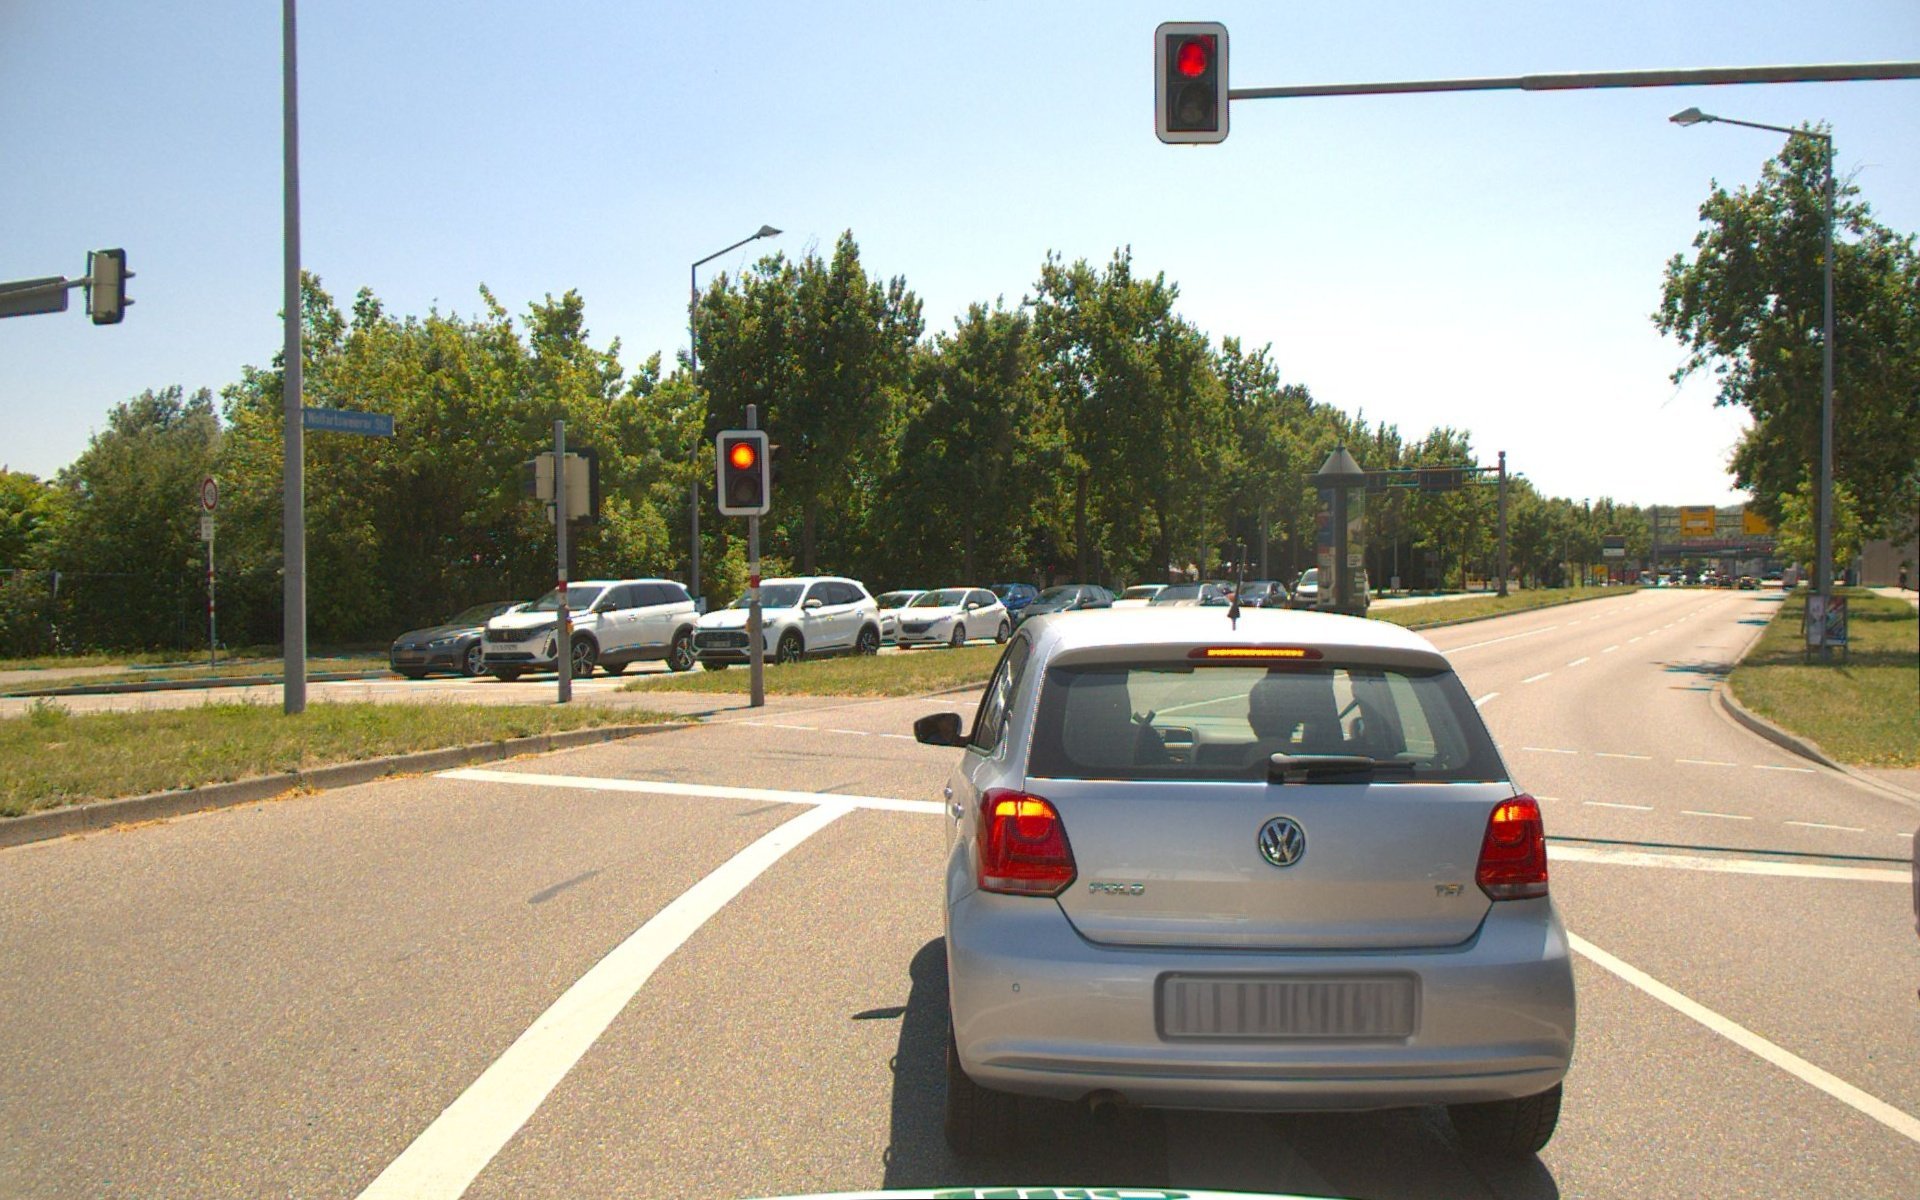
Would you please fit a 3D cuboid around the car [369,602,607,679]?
[{"bbox_3d":[-8.866,0.711,31.426,1.823,1.292,4.402,0,1,28],"label":"car"}]

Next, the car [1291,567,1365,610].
[{"bbox_3d":[13.861,-0.444,62.234,1.826,1.582,3.996,0,1,26],"label":"car"}]

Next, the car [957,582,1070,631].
[{"bbox_3d":[1.729,0.178,51.916,1.823,1.447,4.402,0,1,28],"label":"car"}]

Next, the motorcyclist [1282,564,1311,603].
[{"bbox_3d":[14.141,-0.692,69.542,0.889,1.614,1.008,-2,-1,30],"label":"motorcyclist"}]

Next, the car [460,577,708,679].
[{"bbox_3d":[-6.462,0.421,28.921,1.823,1.646,4.402,0,1,28],"label":"car"}]

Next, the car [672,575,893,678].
[{"bbox_3d":[-3.105,0.417,29.849,1.823,1.712,4.402,0,1,28],"label":"car"}]

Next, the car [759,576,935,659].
[{"bbox_3d":[-2.409,0.333,36.472,1.823,1.712,4.402,0,1,28],"label":"car"}]

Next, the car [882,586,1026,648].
[{"bbox_3d":[-0.092,0.388,41.992,1.823,1.447,4.402,0,1,28],"label":"car"}]

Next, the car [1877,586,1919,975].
[{"bbox_3d":[4.479,0.701,4.203,1.952,1.443,4.457,0,1,2],"label":"car"}]

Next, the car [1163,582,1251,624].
[{"bbox_3d":[9.047,0.079,60.240,1.823,1.447,4.402,0,1,28],"label":"car"}]

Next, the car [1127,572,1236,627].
[{"bbox_3d":[6.476,-0.049,48.106,1.932,1.514,3.995,0,1,27],"label":"car"}]

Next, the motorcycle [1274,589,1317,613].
[{"bbox_3d":[14.087,0.032,69.404,0.878,0.969,2.810,-2,-1,30],"label":"motorcycle"}]

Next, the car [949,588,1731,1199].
[{"bbox_3d":[0.837,0.704,5.674,1.740,1.447,4.000,0,1,0],"label":"car"}]

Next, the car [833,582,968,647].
[{"bbox_3d":[-1.610,0.359,46.137,1.823,1.712,4.402,0,1,28],"label":"car"}]

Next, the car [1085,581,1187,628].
[{"bbox_3d":[5.771,0.128,53.835,1.823,1.447,4.402,0,1,28],"label":"car"}]

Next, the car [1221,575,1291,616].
[{"bbox_3d":[11.530,-0.184,64.290,1.682,1.500,3.793,-2,-1,27],"label":"car"}]

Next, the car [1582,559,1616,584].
[{"bbox_3d":[45.968,-2.042,118.972,1.766,1.722,4.136,-2,-1,28],"label":"car"}]

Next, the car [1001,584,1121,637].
[{"bbox_3d":[2.972,0.277,47.813,1.823,1.447,4.402,0,1,28],"label":"car"}]
